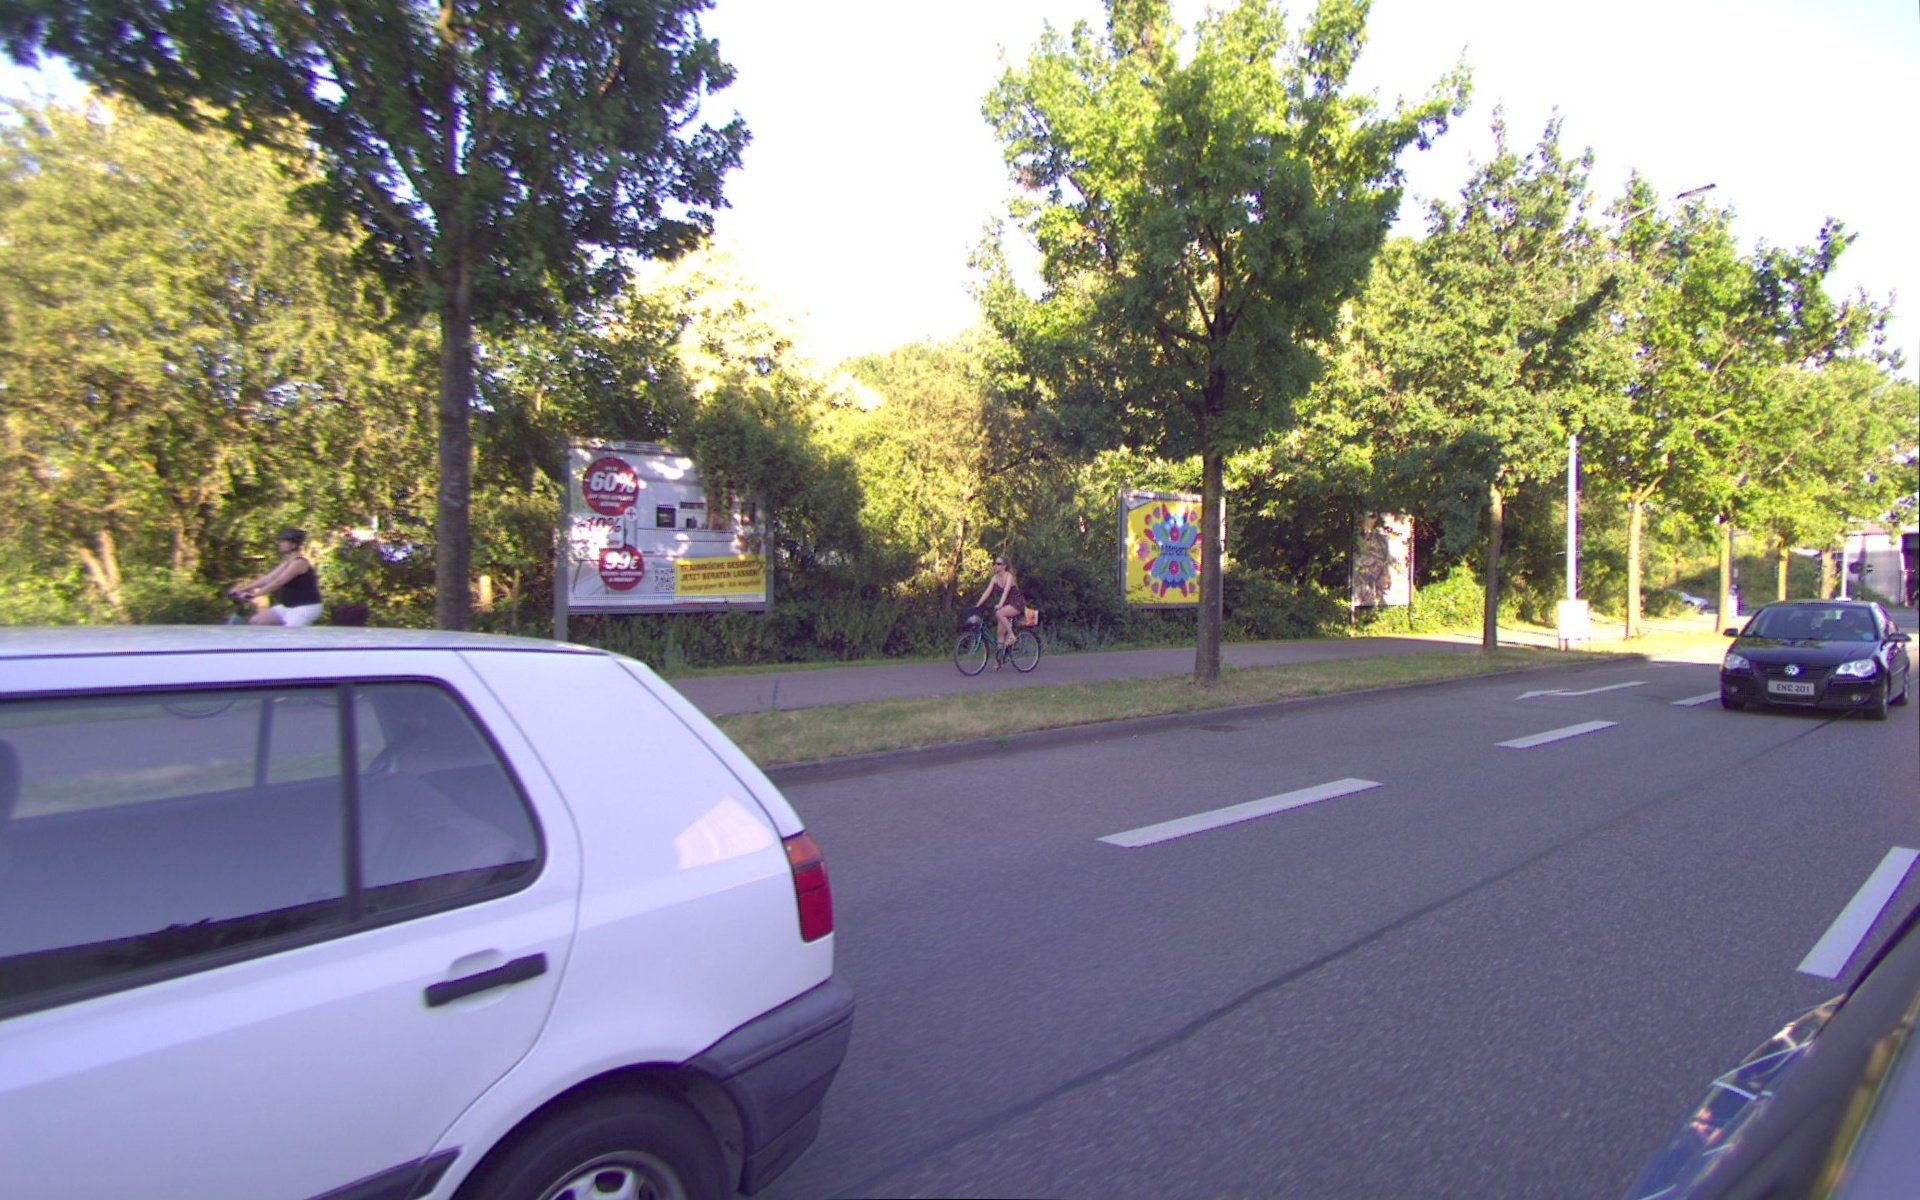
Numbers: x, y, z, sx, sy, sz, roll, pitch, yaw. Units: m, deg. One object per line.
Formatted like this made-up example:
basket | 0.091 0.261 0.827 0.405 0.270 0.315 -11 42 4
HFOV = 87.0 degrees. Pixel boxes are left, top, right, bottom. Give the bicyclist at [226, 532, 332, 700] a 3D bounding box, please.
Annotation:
bicyclist | -6.818 0.137 10.131 0.833 1.598 0.604 0 1 -39

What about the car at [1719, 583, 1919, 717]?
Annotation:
car | 11.682 0.569 13.531 4.141 1.518 1.723 0 0 -42

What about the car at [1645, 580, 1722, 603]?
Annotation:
car | 53.994 -0.635 75.629 1.896 1.537 4.290 0 3 -37

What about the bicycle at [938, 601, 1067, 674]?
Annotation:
bicycle | 0.651 0.521 15.055 2.022 0.986 0.618 -1 2 -40

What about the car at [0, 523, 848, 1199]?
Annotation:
car | -2.259 0.637 1.440 3.970 1.416 1.613 -3 1 -42

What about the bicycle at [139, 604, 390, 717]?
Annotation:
bicycle | -6.884 0.554 10.096 2.022 0.986 0.618 -1 2 -40

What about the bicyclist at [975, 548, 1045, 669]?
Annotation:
bicyclist | 0.744 0.109 15.096 0.833 1.755 0.604 0 1 -39
